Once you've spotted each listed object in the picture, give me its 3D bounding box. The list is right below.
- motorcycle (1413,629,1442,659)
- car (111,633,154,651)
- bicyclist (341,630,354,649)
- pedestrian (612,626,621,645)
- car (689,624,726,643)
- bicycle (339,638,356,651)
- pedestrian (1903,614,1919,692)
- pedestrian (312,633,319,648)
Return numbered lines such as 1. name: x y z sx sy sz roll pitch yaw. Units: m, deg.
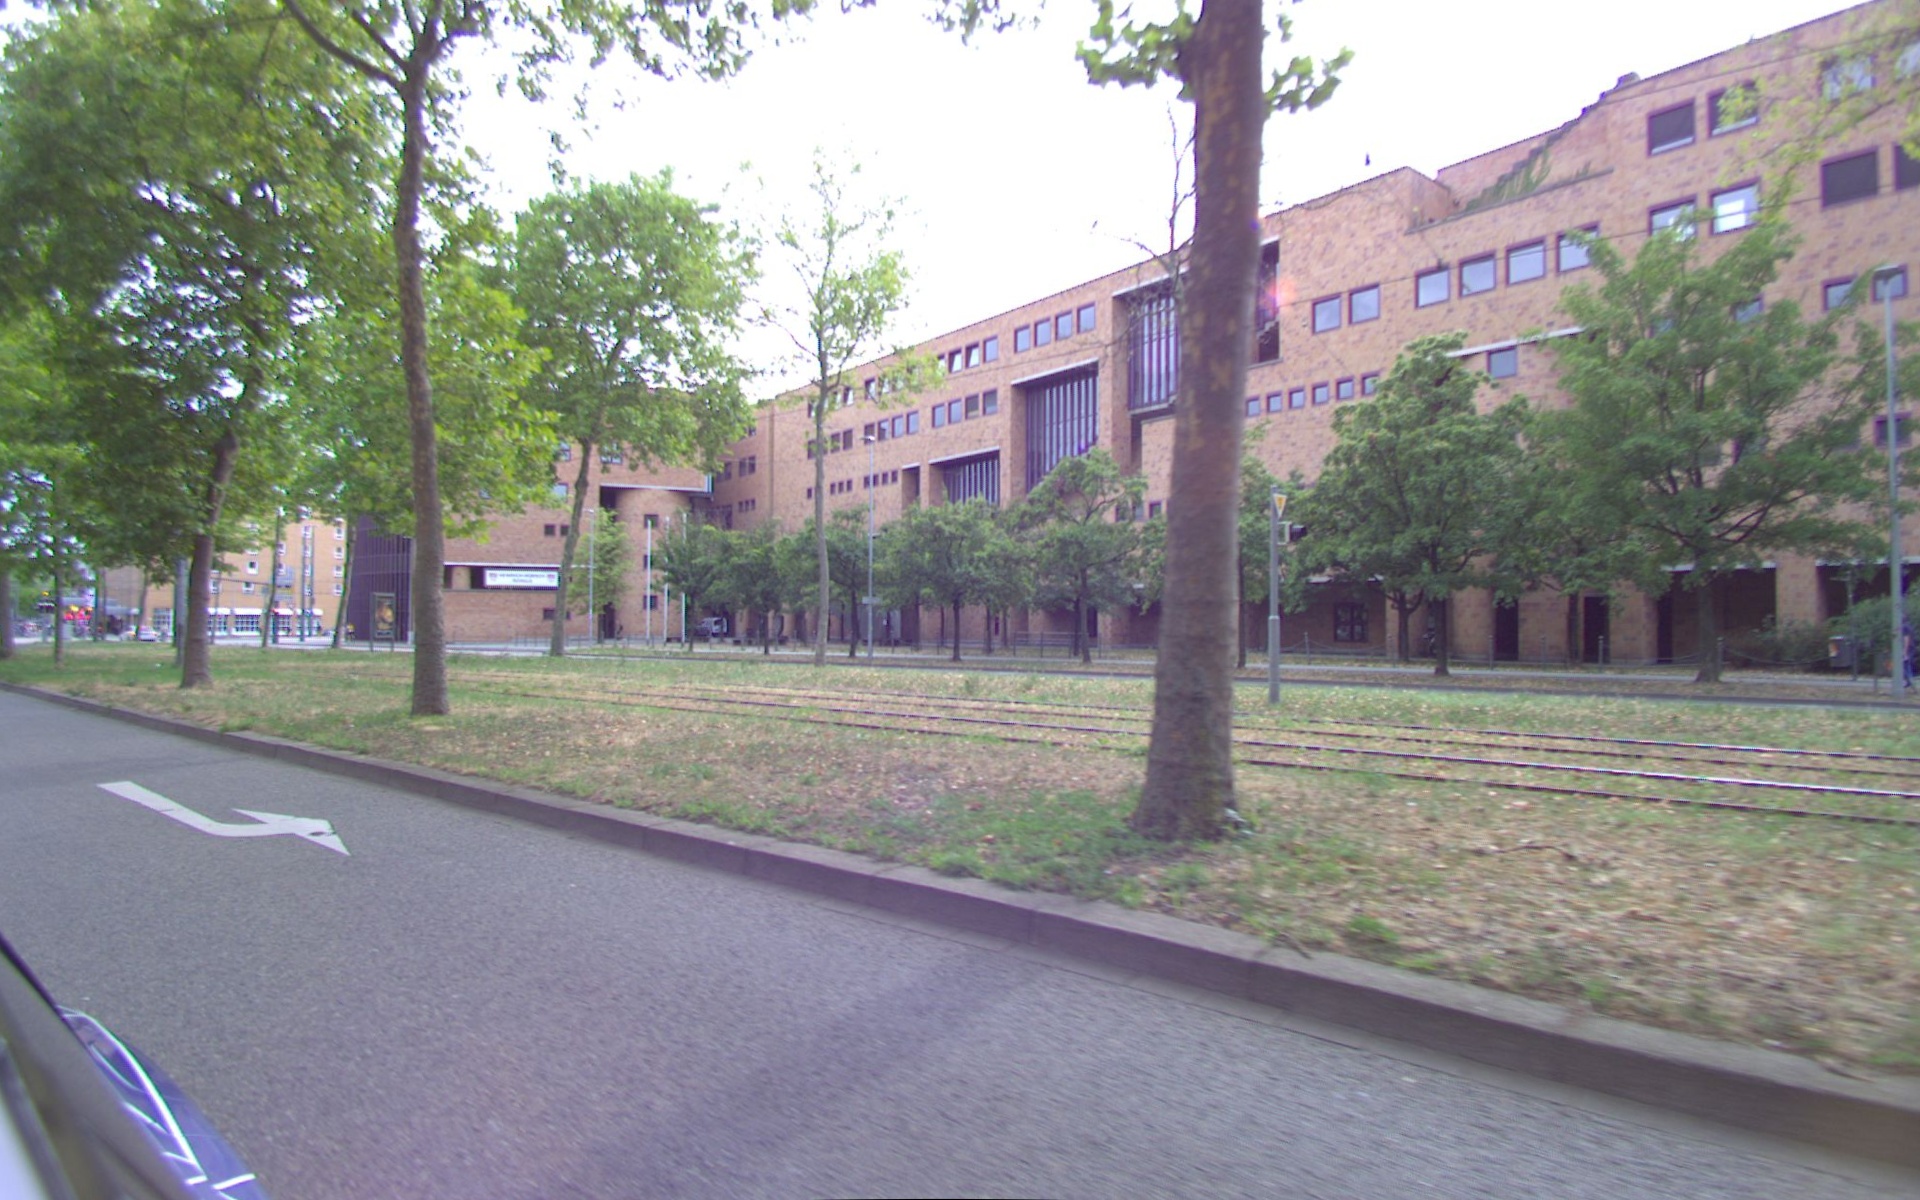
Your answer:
1. motorcycle: 19.607 1.833 42.520 0.790 1.200 2.185 -1 -2 17
2. car: -67.012 3.398 81.924 4.653 1.432 1.766 -2 -3 39
3. bicyclist: -50.567 3.259 83.527 0.984 1.603 0.657 -2 -3 43
4. pedestrian: -27.383 2.851 80.715 0.500 1.543 0.521 1 -3 -35
5. car: -23.813 3.158 95.353 1.868 1.821 4.008 1 -2 -38
6. bicycle: -50.521 3.675 83.470 2.093 1.092 0.660 -2 -3 43
7. pedestrian: 21.364 1.161 22.430 0.626 1.718 0.546 -2 -3 45
8. pedestrian: -76.959 4.825 120.787 0.542 1.745 0.533 -2 -2 38
